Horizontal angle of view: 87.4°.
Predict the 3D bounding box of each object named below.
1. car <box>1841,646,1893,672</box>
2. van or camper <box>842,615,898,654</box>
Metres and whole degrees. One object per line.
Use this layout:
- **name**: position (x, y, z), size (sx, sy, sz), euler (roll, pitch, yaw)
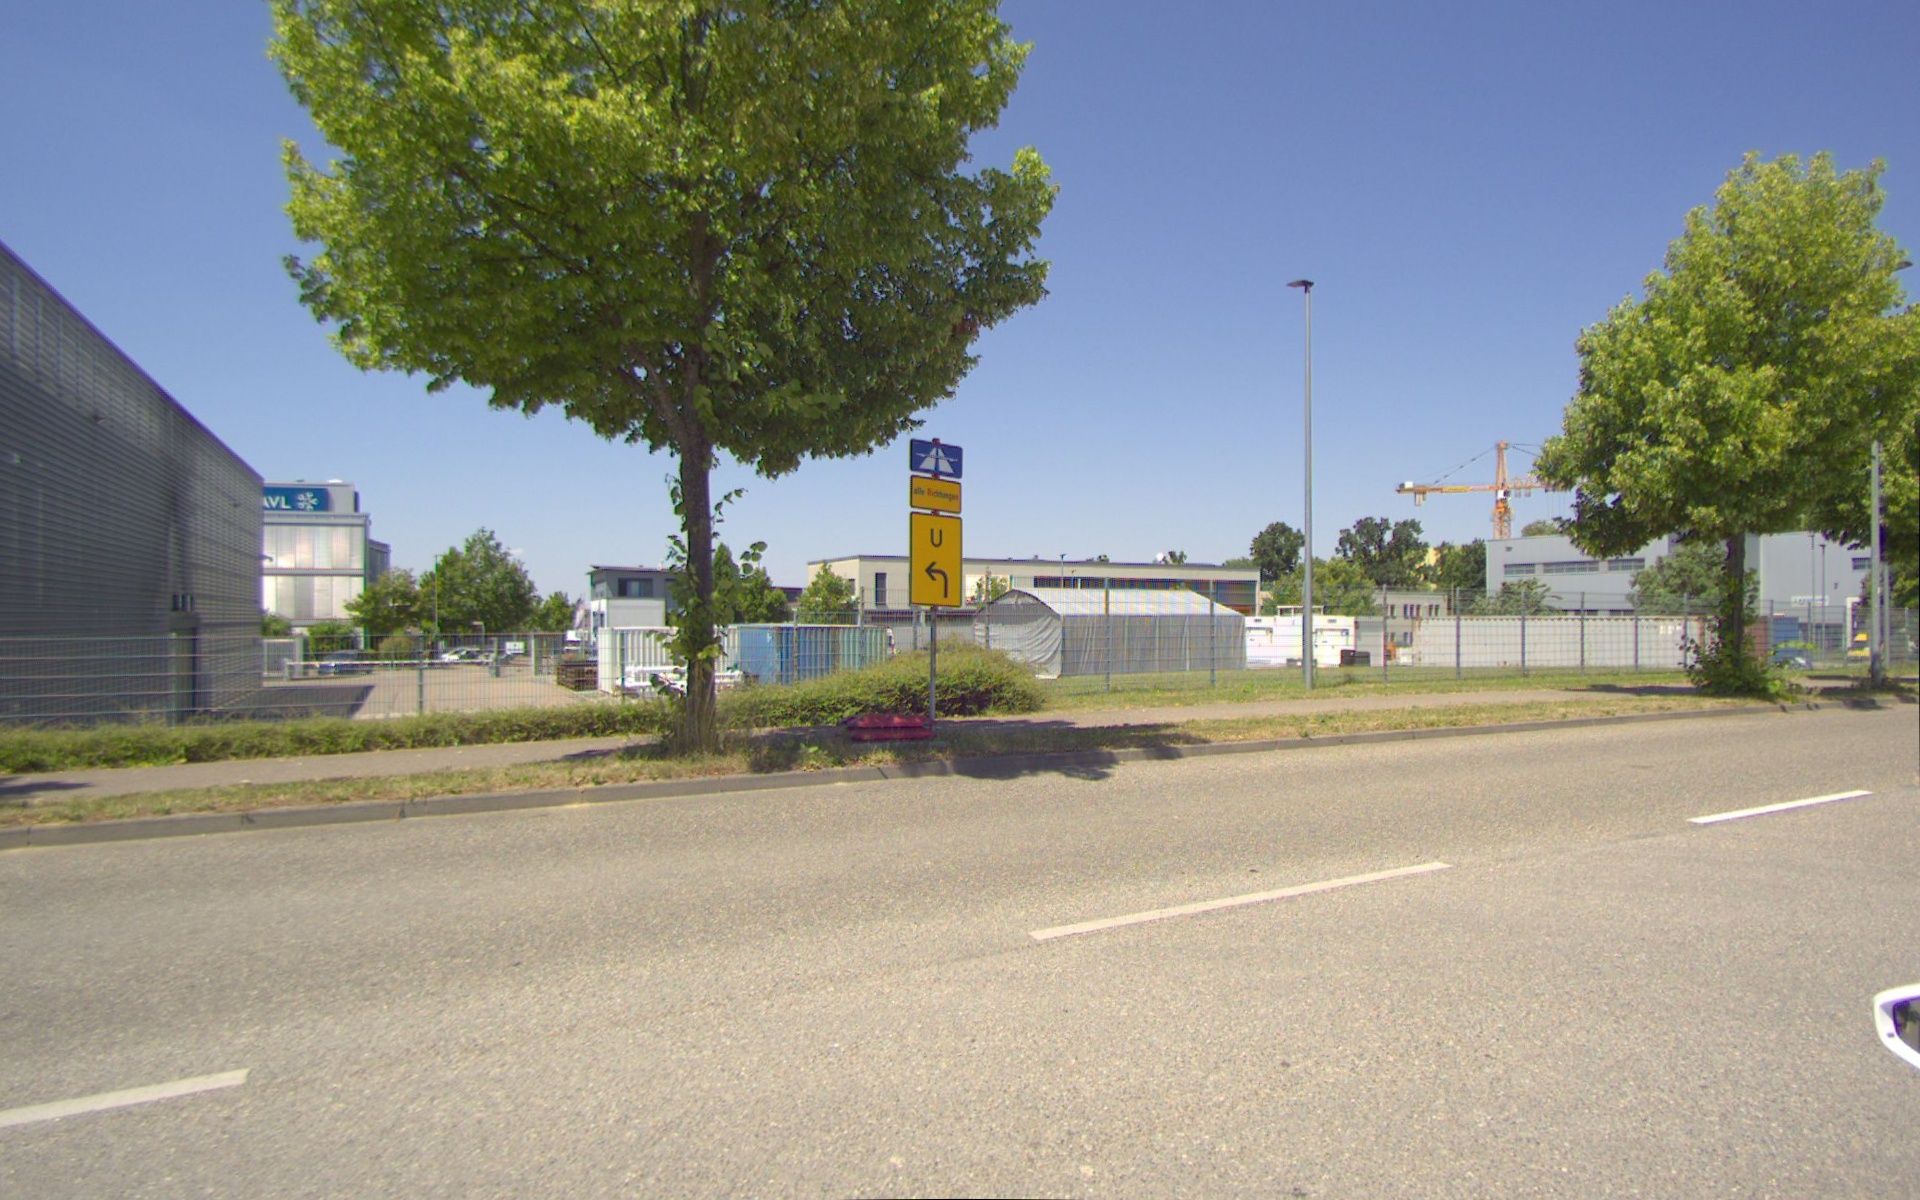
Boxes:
- **car**: position (65.611, 4.247, 72.677), size (3.961, 1.572, 1.980), euler (-3, -1, -36)
- **van or camper**: position (-5.971, 2.293, 66.224), size (1.976, 2.374, 4.267), euler (-3, -1, -29)
